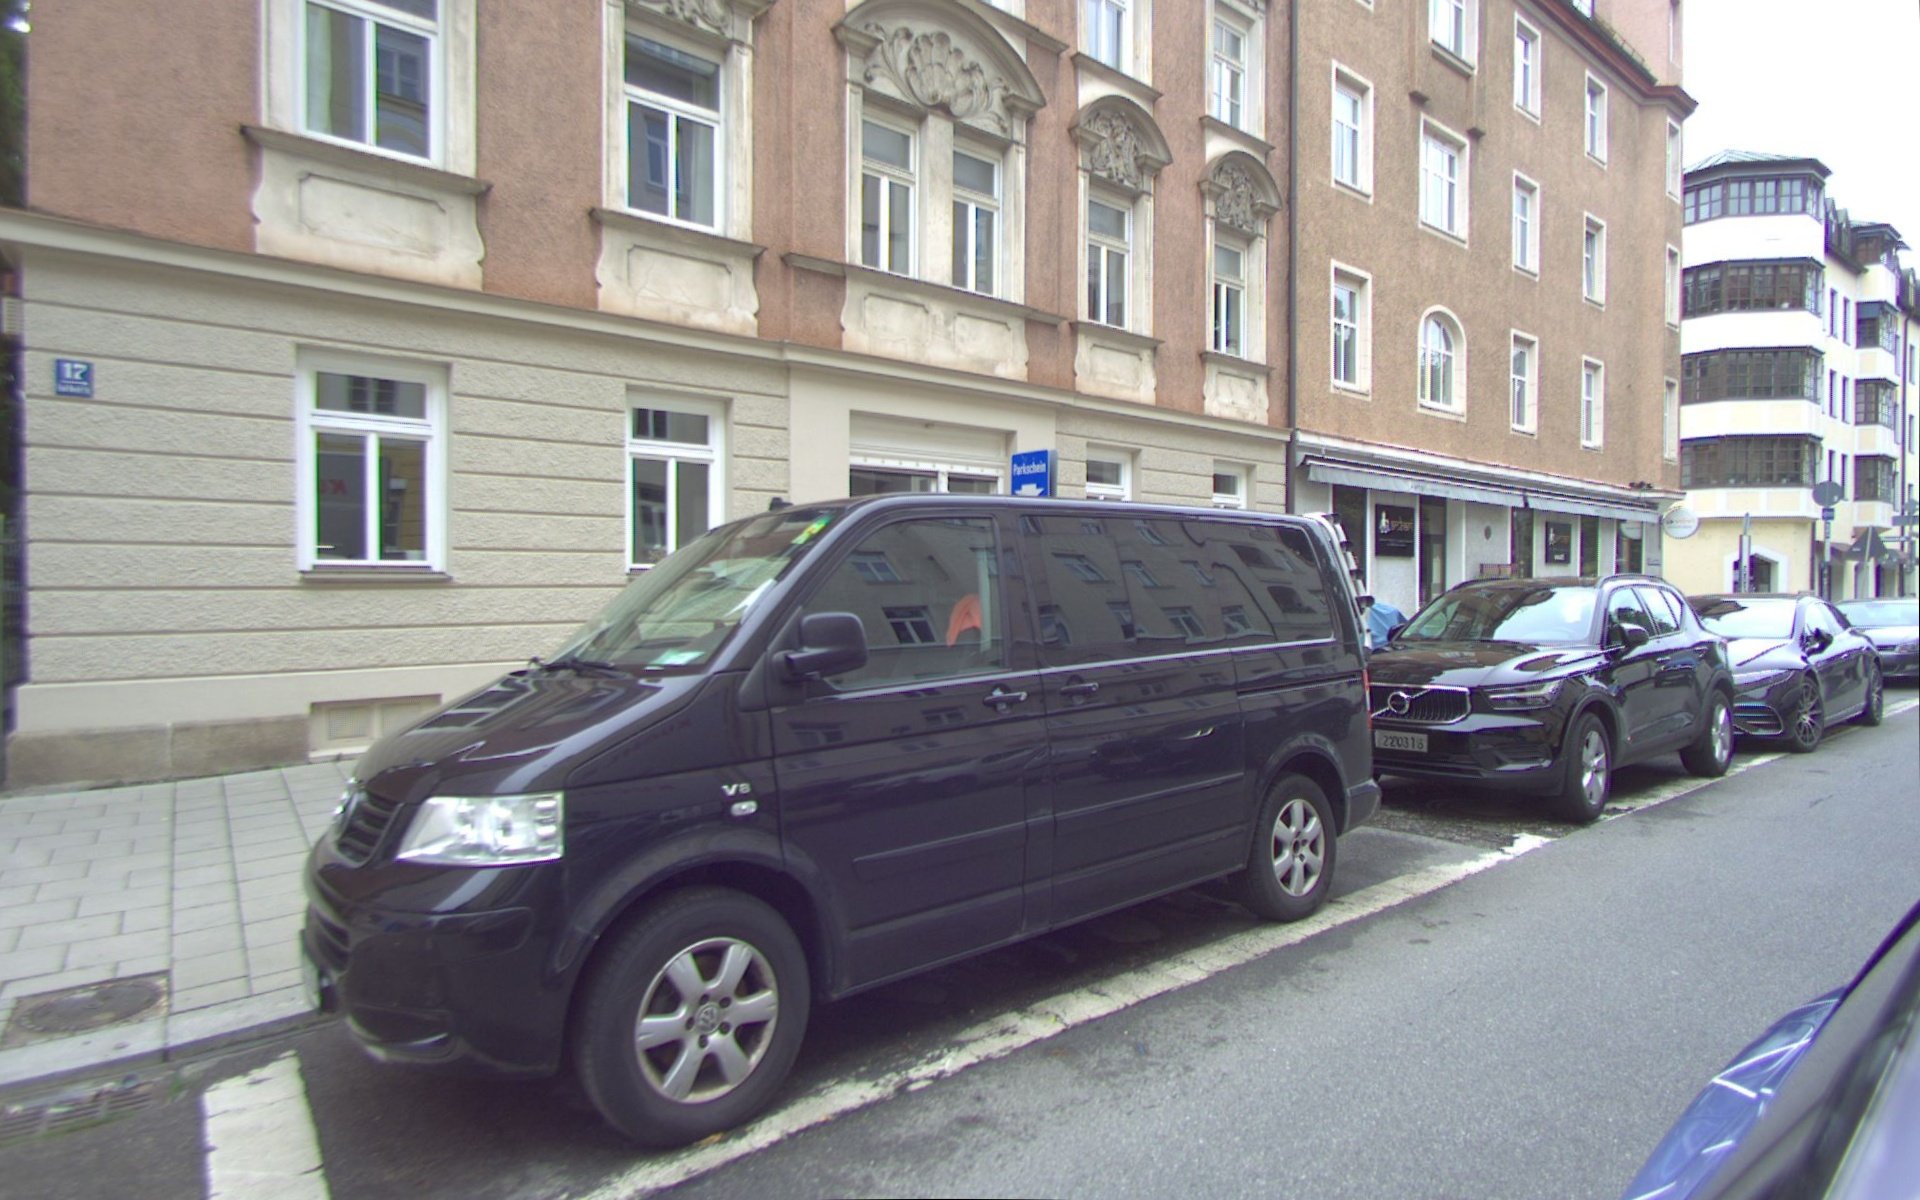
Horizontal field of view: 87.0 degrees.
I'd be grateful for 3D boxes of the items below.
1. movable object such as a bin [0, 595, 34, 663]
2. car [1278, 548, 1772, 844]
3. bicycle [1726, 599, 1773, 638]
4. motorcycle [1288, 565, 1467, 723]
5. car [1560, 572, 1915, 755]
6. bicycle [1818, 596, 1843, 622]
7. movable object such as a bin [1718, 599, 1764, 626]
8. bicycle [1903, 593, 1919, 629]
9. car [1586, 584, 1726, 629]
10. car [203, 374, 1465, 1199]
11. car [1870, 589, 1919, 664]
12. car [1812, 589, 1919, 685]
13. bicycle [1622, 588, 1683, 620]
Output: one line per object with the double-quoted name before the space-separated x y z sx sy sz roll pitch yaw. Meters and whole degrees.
"movable object such as a bin" -18.873 0.567 20.168 0.543 1.333 0.467 0 0 -35
"car" 4.512 0.548 7.814 4.327 1.698 1.697 -1 -2 -38
"bicycle" 21.353 0.497 27.370 1.768 1.018 0.497 1 2 -36
"motorcycle" 4.450 0.414 10.739 1.960 1.524 0.874 0 0 -37
"car" 8.791 0.525 11.216 5.536 1.572 1.935 0 0 -40
"bicycle" 33.031 0.328 38.392 1.663 0.912 0.263 -1 5 -36
"movable object such as a bin" 27.502 0.428 35.645 0.671 0.911 1.126 -1 2 -37
"bicycle" 33.073 0.372 34.894 2.015 1.173 0.431 -1 2 -37
"car" 24.885 0.201 36.283 1.717 1.458 3.748 3 0 -33
"car" -0.102 0.400 4.413 5.048 1.944 2.088 -4 1 -38
"car" 20.210 0.491 20.521 4.701 1.422 1.851 -1 1 -38
"car" 15.936 0.547 17.158 4.108 1.412 1.576 -1 2 -40
"bicycle" 26.830 0.143 39.233 0.506 1.201 1.906 0 1 -37
